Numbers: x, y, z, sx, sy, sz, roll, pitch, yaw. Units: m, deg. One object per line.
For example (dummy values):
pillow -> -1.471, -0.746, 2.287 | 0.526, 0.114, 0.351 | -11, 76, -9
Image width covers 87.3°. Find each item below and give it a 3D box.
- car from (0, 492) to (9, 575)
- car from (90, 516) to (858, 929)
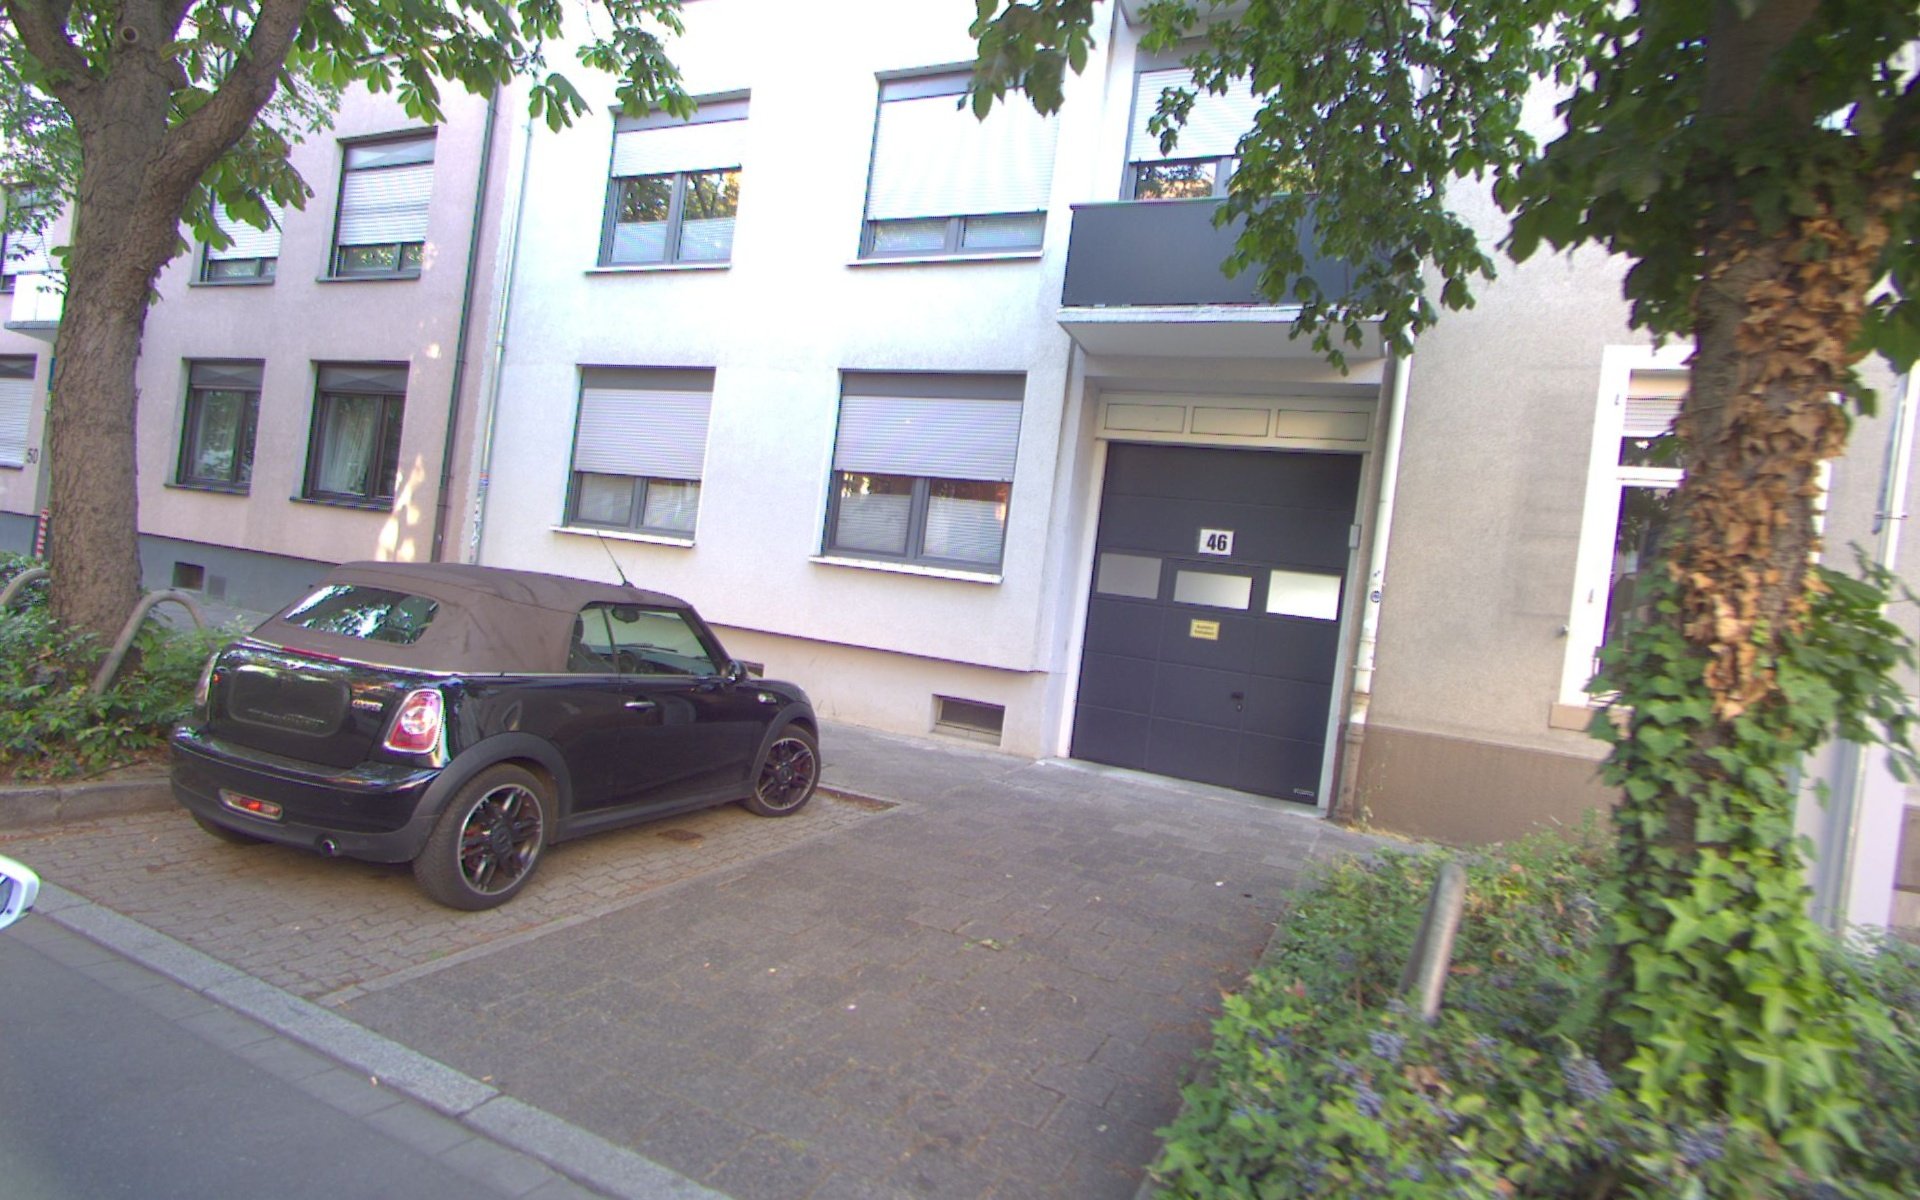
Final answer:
car -> -13.535, -0.820, 11.167 | 1.634, 1.494, 3.921 | 7, -1, 24
car -> -2.208, 0.535, 5.647 | 1.634, 1.380, 3.622 | 7, -1, 22
